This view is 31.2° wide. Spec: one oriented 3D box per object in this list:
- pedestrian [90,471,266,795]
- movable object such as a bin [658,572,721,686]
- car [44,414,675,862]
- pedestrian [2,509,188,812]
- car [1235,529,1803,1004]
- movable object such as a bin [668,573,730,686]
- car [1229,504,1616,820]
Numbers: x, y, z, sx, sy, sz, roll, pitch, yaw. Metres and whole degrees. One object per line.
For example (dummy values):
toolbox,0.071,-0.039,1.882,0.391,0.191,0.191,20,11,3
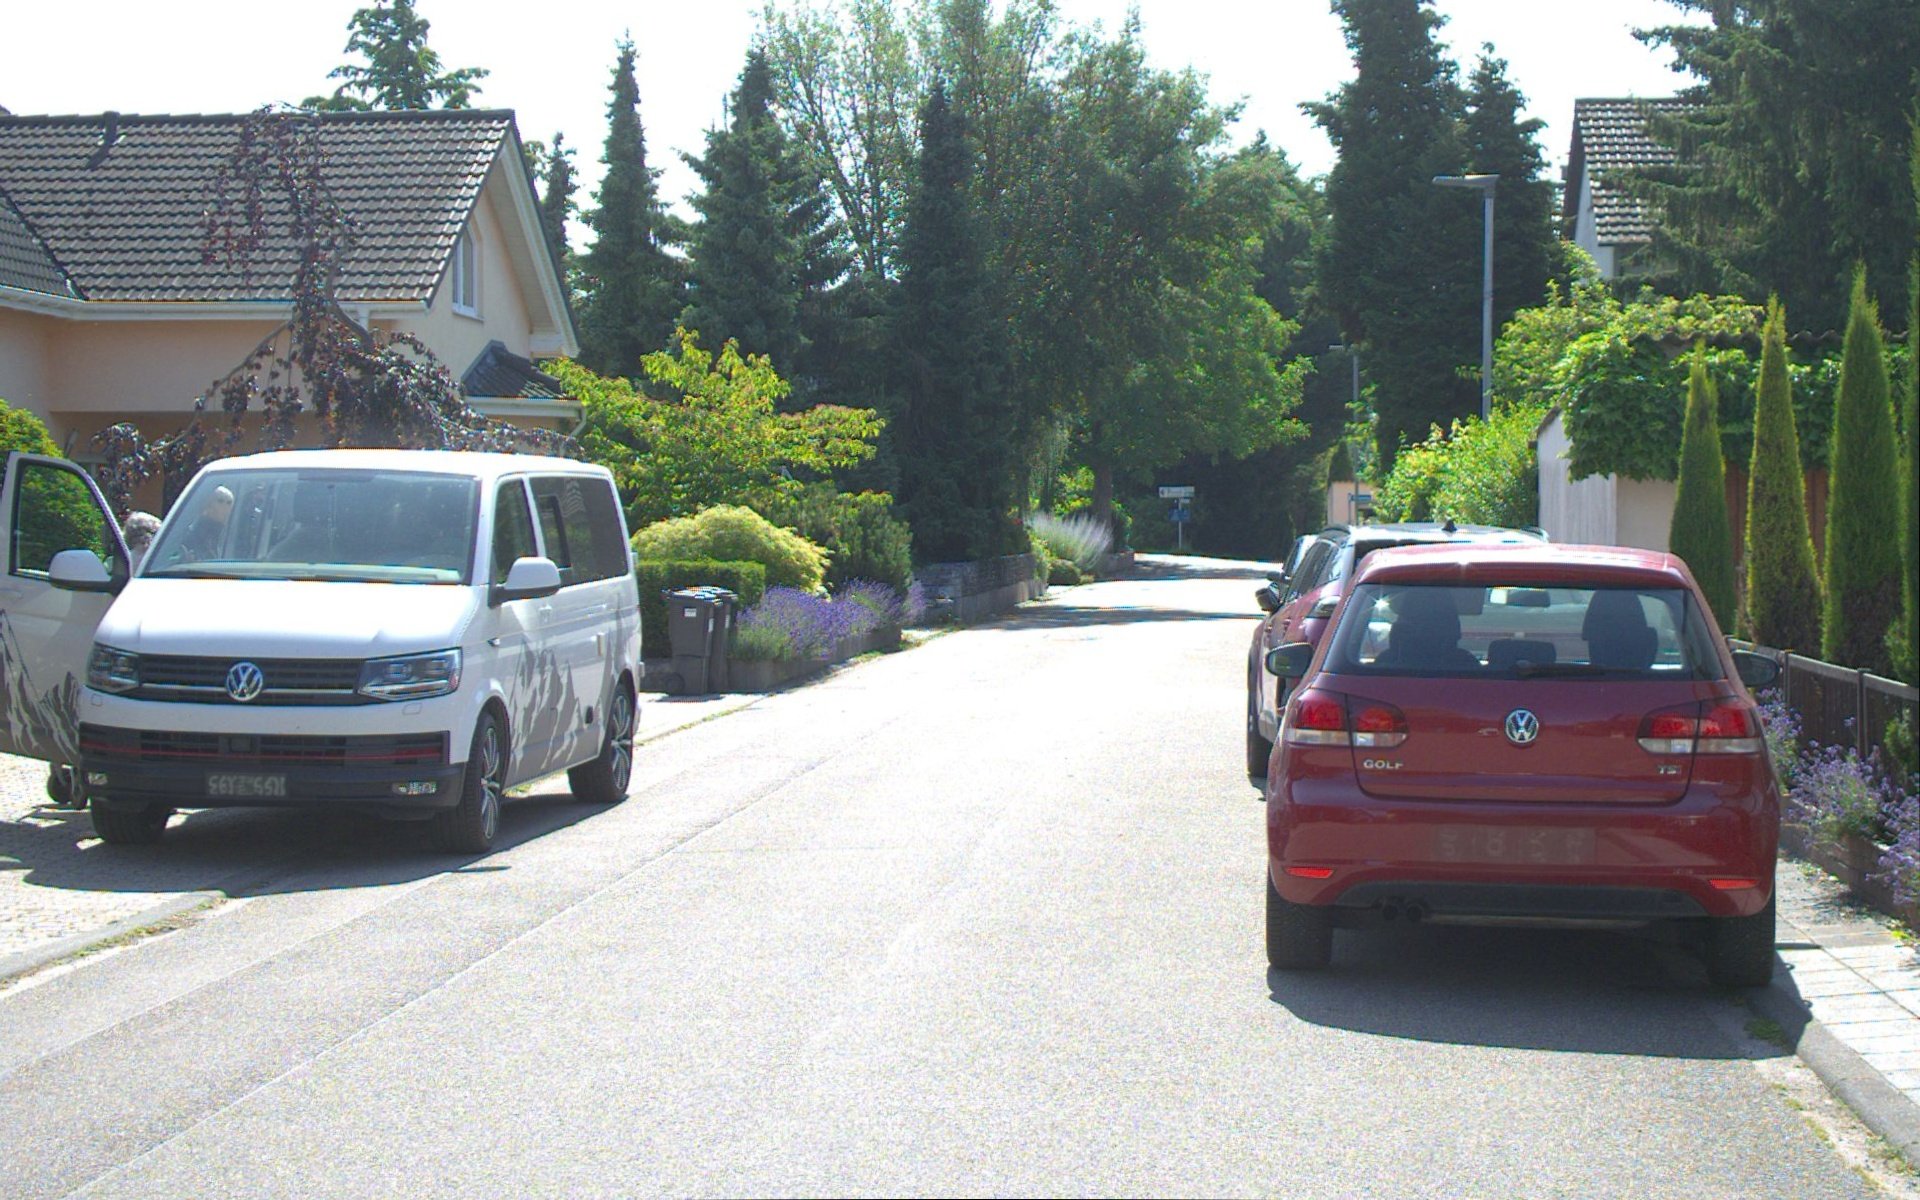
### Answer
pedestrian,-4.276,0.163,18.793,0.691,1.725,0.640,2,2,36
movable object such as a bin,-2.441,0.259,31.055,0.494,1.021,0.447,0,1,5
car,-2.921,0.110,17.927,1.929,2.007,4.895,0,1,7
pedestrian,-4.519,0.296,17.959,0.719,1.533,0.640,2,2,38
car,2.094,0.493,13.155,1.776,1.474,3.999,2,1,8
movable object such as a bin,-2.394,0.264,31.528,0.494,1.021,0.447,0,1,5
car,2.556,0.275,19.856,1.822,1.610,4.000,1,1,2
